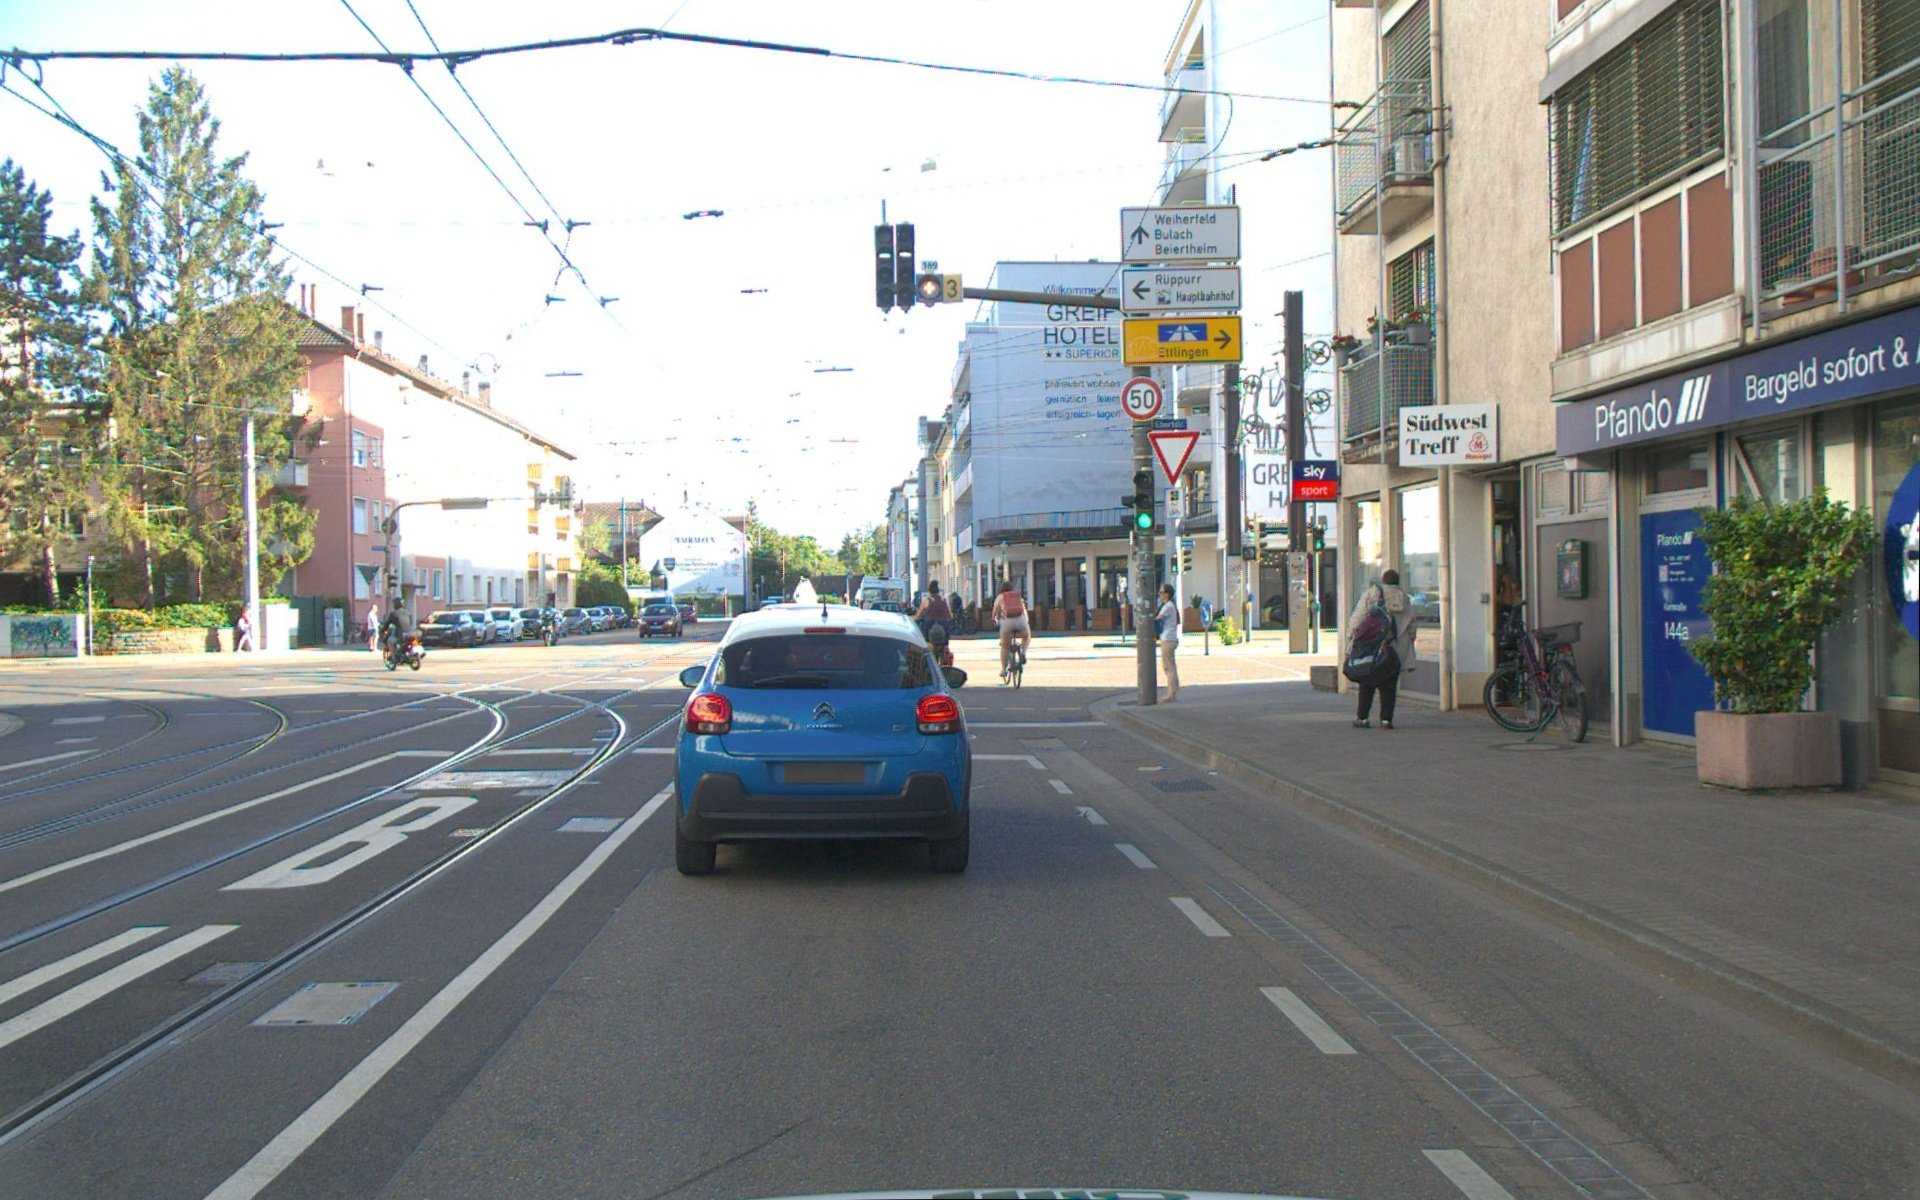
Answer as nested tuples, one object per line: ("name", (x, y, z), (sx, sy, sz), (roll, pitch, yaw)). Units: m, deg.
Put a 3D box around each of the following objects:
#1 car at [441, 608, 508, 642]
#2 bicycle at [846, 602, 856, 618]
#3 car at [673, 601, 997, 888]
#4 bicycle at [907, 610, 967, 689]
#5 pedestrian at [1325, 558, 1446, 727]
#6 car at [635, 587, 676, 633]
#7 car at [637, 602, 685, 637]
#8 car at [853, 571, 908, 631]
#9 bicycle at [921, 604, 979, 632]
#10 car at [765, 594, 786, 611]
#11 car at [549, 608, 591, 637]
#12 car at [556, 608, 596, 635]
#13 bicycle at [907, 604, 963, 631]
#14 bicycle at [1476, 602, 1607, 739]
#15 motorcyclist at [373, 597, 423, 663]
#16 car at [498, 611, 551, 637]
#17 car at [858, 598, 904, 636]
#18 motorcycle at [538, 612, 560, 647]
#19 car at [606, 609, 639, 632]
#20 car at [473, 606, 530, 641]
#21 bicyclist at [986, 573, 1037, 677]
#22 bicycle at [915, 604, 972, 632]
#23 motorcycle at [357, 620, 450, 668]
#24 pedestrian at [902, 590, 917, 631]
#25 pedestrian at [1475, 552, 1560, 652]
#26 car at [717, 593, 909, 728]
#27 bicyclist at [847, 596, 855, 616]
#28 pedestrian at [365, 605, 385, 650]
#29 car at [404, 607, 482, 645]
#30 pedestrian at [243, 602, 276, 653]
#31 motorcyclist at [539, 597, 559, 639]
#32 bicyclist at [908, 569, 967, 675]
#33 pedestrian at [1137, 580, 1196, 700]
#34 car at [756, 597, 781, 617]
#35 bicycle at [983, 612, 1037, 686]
("car", (-21.619, 1.094, 73.835), (1.865, 1.462, 4.101), (1, 0, -2))
("bicycle", (-11.452, 1.025, 173.592), (0.774, 1.699, 2.230), (1, -1, 1))
("car", (-0.954, 0.756, 10.513), (1.705, 1.478, 3.653), (0, 0, -10))
("bicycle", (-0.388, 0.796, 27.406), (0.921, 1.245, 2.094), (1, -1, -1))
("pedestrian", (4.288, 0.413, 16.719), (0.868, 1.619, 0.809), (-3, 1, -8))
("car", (-21.807, 0.719, 118.494), (2.369, 3.197, 3.486), (1, -1, -3))
("car", (-13.477, 0.879, 74.754), (1.744, 1.512, 3.824), (-1, 0, -5))
("car", (-3.506, 0.077, 72.218), (2.221, 2.525, 5.003), (0, 0, -5))
("bicycle", (-0.398, 0.709, 65.223), (2.207, 1.019, 0.855), (-2, 0, -5))
("car", (-20.798, 0.279, 186.572), (2.033, 1.793, 5.033), (1, 0, -3))
("car", (-22.977, 1.311, 97.455), (1.833, 1.604, 3.995), (1, 0, -5))
("car", (-23.602, 1.335, 101.792), (1.833, 1.604, 3.995), (1, 0, -5))
("bicycle", (-1.039, 0.726, 67.683), (2.207, 1.019, 0.855), (-2, 0, -5))
("bicycle", (5.297, 0.616, 15.167), (0.486, 1.182, 1.776), (-1, -1, -3))
("motorcyclist", (-13.065, 0.693, 38.467), (0.711, 1.514, 0.858), (1, -1, 16))
("car", (-22.482, 1.217, 85.514), (1.908, 1.261, 4.279), (1, 0, -4))
("car", (-3.223, 0.692, 67.092), (1.626, 1.456, 3.883), (1, 0, -6))
("motorcycle", (-15.050, 1.103, 60.556), (0.700, 1.241, 1.956), (-1, -2, -16))
("car", (-24.126, 1.455, 118.212), (1.833, 1.604, 3.995), (1, 0, -5))
("car", (-21.708, 1.096, 78.440), (1.707, 1.553, 4.227), (1, 0, -3))
("bicyclist", (0.878, 0.422, 28.042), (0.794, 1.721, 0.935), (1, -1, 4))
("bicycle", (-0.672, 0.705, 66.589), (2.207, 1.019, 0.855), (-2, 0, -5))
("motorcycle", (-12.925, 1.010, 38.420), (1.895, 1.065, 0.858), (1, -1, 16))
("pedestrian", (-2.115, 0.442, 69.057), (0.600, 1.683, 0.671), (1, -1, -2))
("pedestrian", (6.323, 0.018, 18.759), (0.618, 1.106, 0.670), (-2, 1, -37))
("car", (-1.983, 0.710, 21.283), (1.756, 1.548, 3.745), (1, 0, -17))
("bicyclist", (-11.447, 0.669, 173.598), (0.774, 2.060, 0.986), (1, -1, 1))
("pedestrian", (-21.268, 0.996, 60.129), (0.506, 1.596, 0.573), (1, -1, -3))
("car", (-21.316, 1.103, 68.387), (2.112, 1.457, 4.435), (1, -2, -5))
("pedestrian", (-24.499, 0.963, 57.822), (0.688, 1.752, 0.784), (1, -1, 23))
("motorcyclist", (-15.085, 0.662, 60.680), (0.682, 1.523, 0.681), (0, -2, -17))
("bicyclist", (-0.374, 0.363, 27.346), (0.921, 1.702, 1.079), (1, -1, -1))
("pedestrian", (2.940, 0.566, 23.534), (0.528, 1.652, 0.733), (-6, -2, 21))
("car", (-19.618, 0.710, 169.315), (2.174, 1.965, 4.946), (1, 0, -3))
("bicycle", (0.864, 0.812, 28.026), (0.794, 1.202, 2.065), (1, -1, 4))
